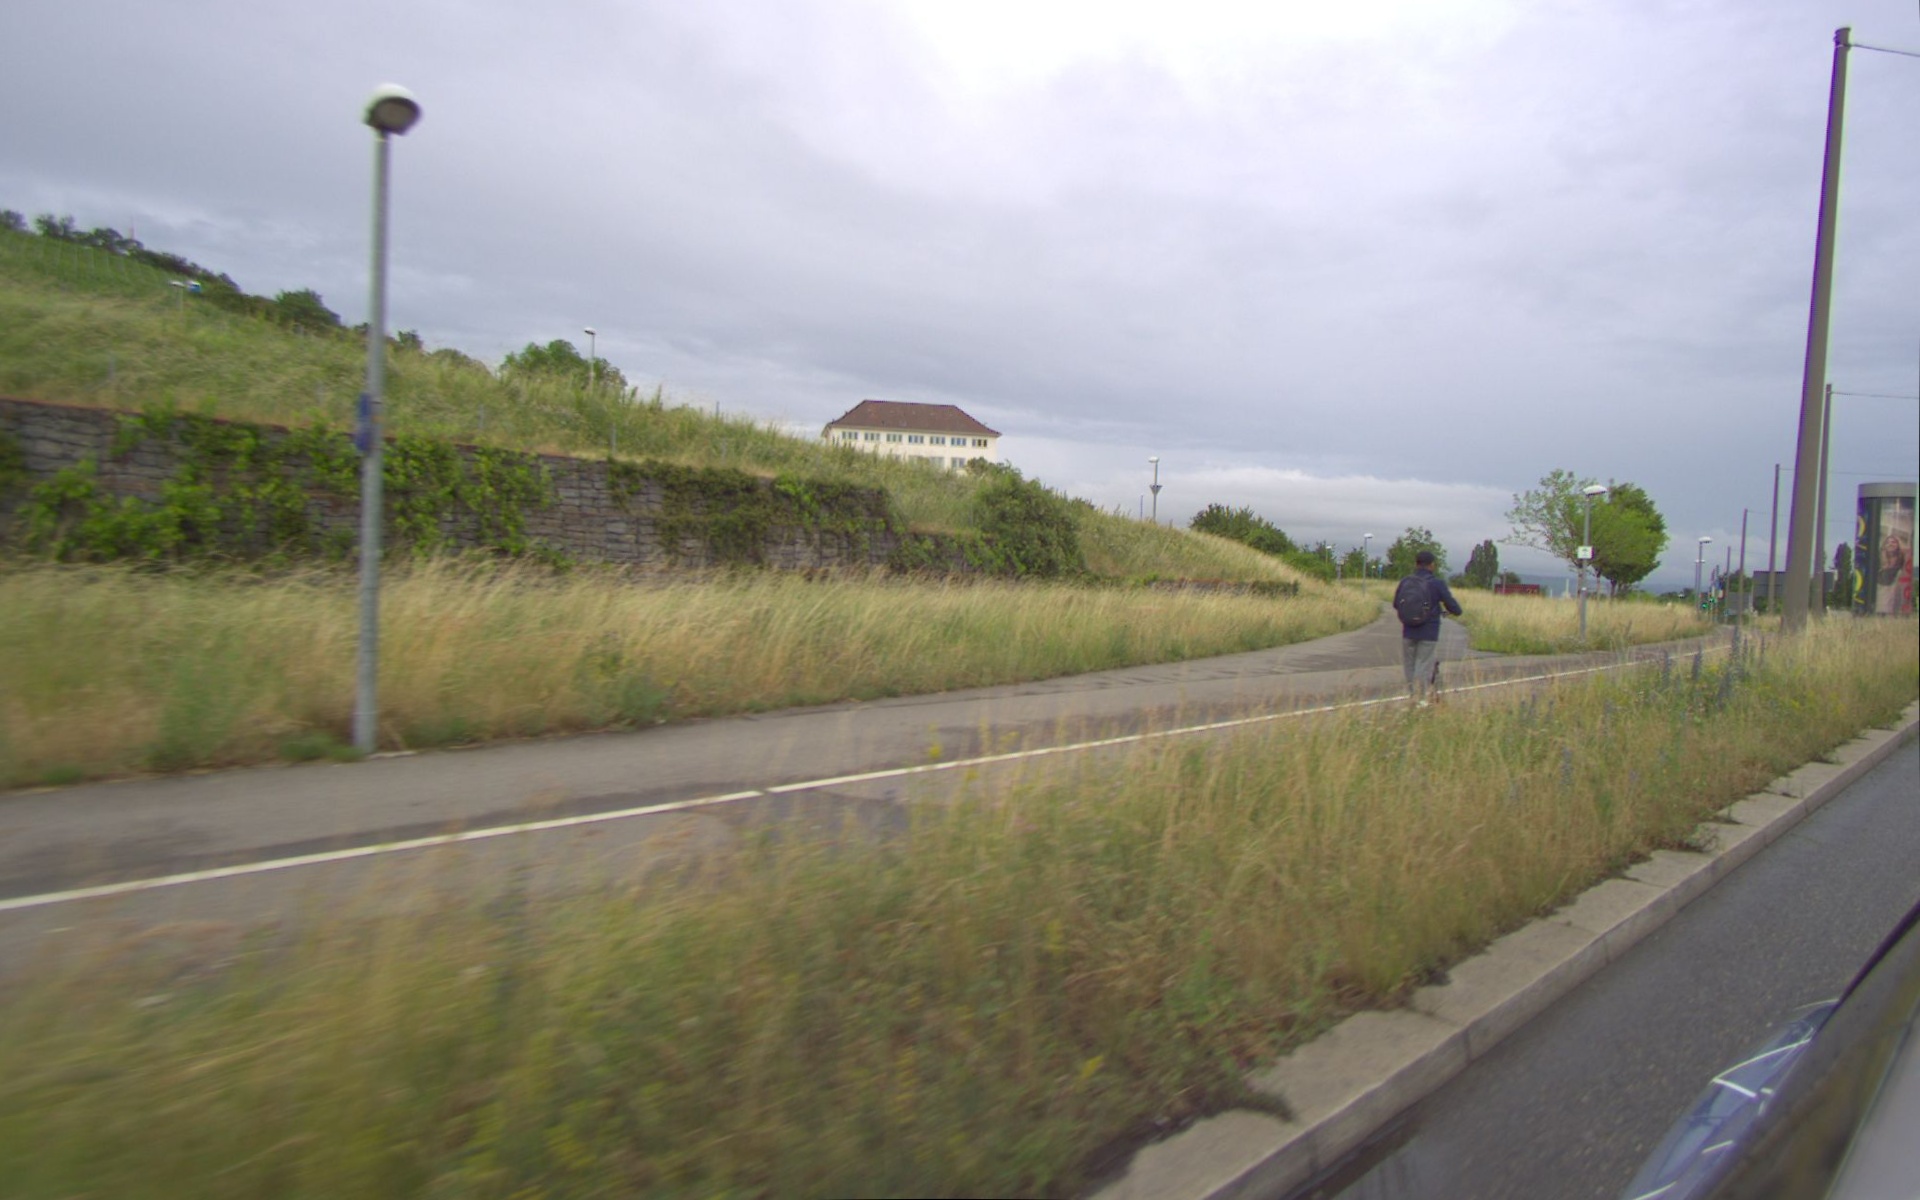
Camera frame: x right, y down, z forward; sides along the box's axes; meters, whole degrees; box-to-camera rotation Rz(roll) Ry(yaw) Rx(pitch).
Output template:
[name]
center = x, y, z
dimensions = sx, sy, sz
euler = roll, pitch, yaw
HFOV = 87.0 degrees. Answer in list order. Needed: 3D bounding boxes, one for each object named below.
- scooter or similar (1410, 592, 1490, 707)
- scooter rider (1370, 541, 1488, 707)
[scooter or similar]
center = 5.435, 0.528, 11.218
dimensions = 1.094, 1.212, 0.401
euler = 1, -1, -42
[scooter rider]
center = 4.970, 0.232, 10.733
dimensions = 0.814, 1.648, 0.807
euler = 2, 2, -41
